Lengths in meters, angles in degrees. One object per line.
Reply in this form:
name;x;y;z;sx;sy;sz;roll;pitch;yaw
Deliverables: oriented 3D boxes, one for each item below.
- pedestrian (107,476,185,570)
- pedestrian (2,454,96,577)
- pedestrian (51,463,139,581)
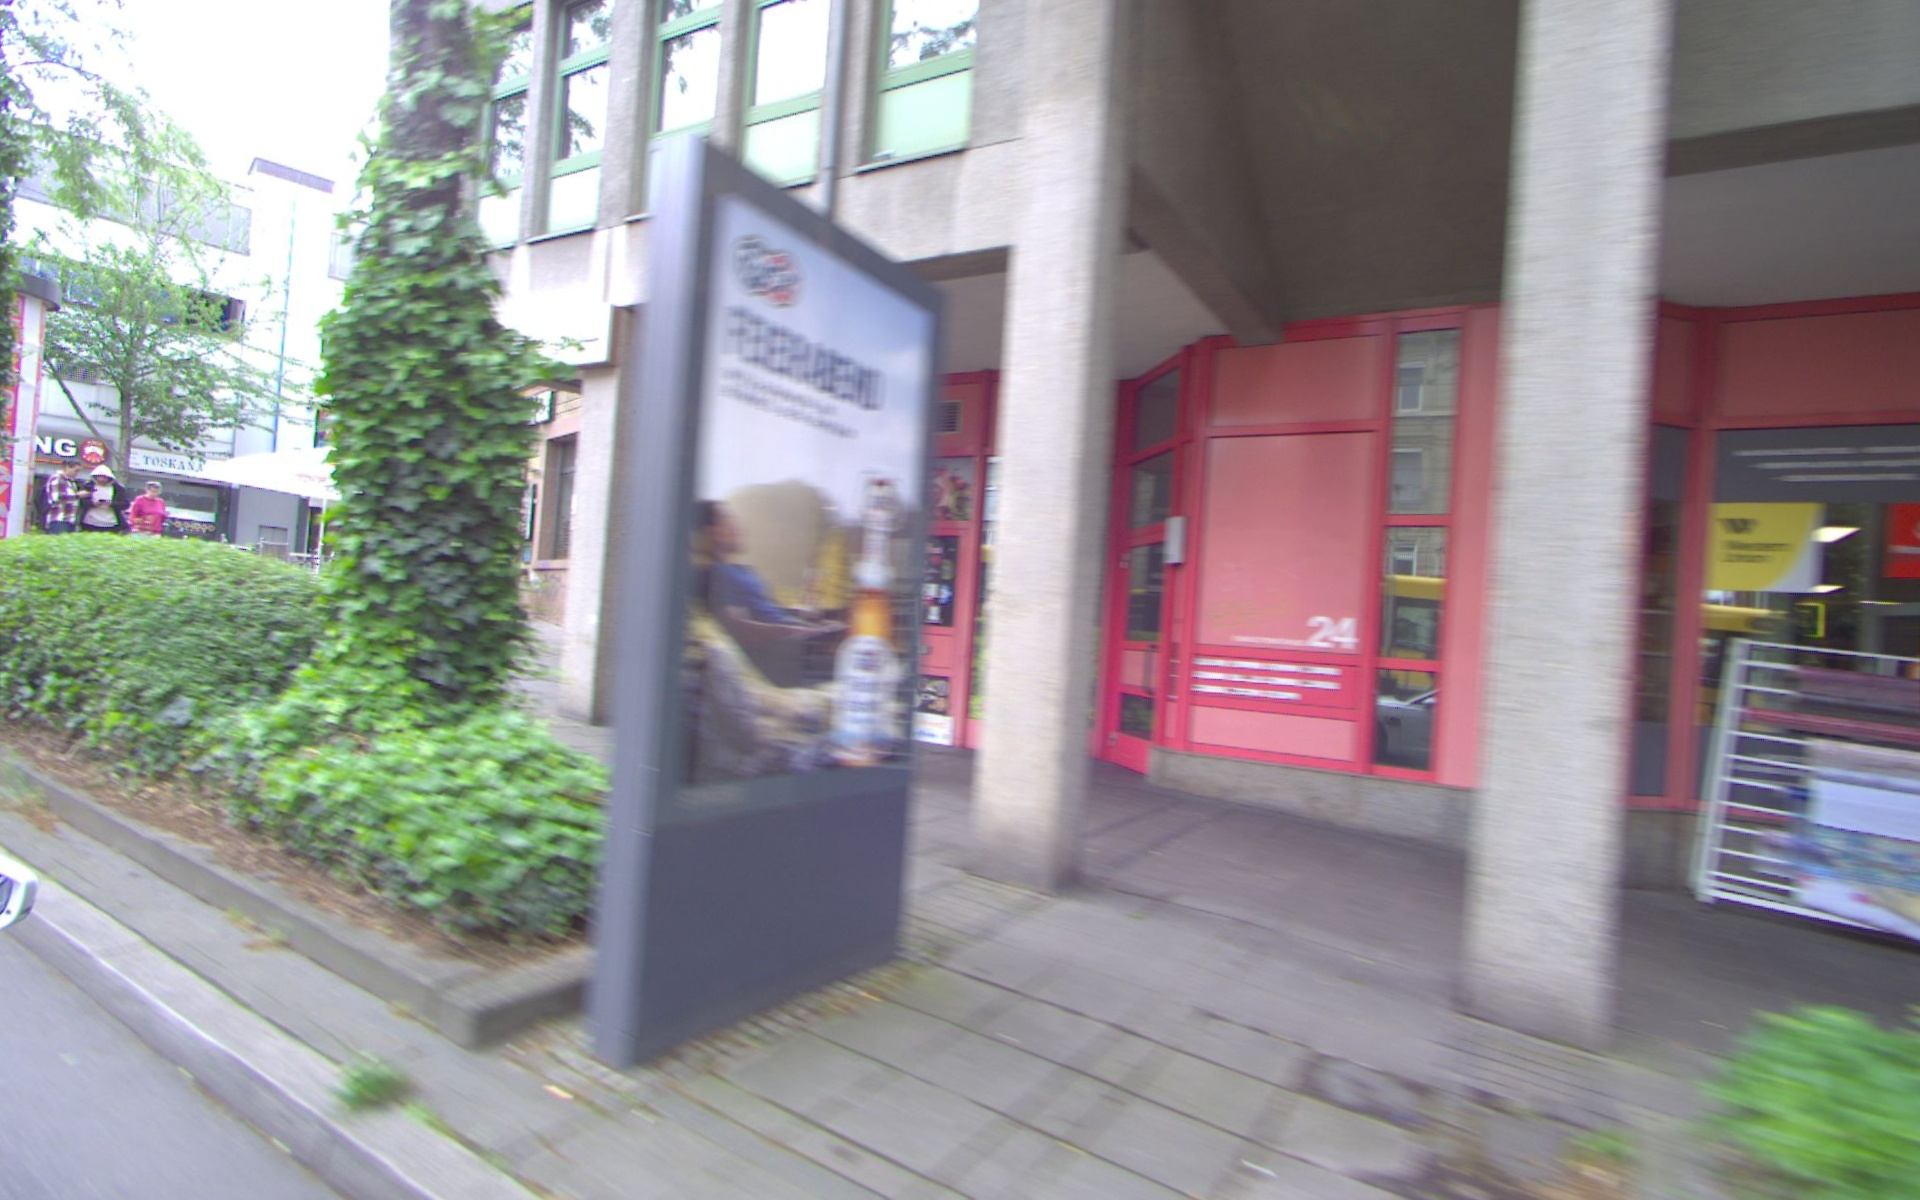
pedestrian;-13.176;-1.237;16.300;0.576;1.384;0.638;6;-2;12
pedestrian;-13.045;-1.194;14.424;0.576;1.634;0.638;6;-2;12
pedestrian;-12.937;-1.153;15.055;0.576;1.626;0.638;6;-2;12
